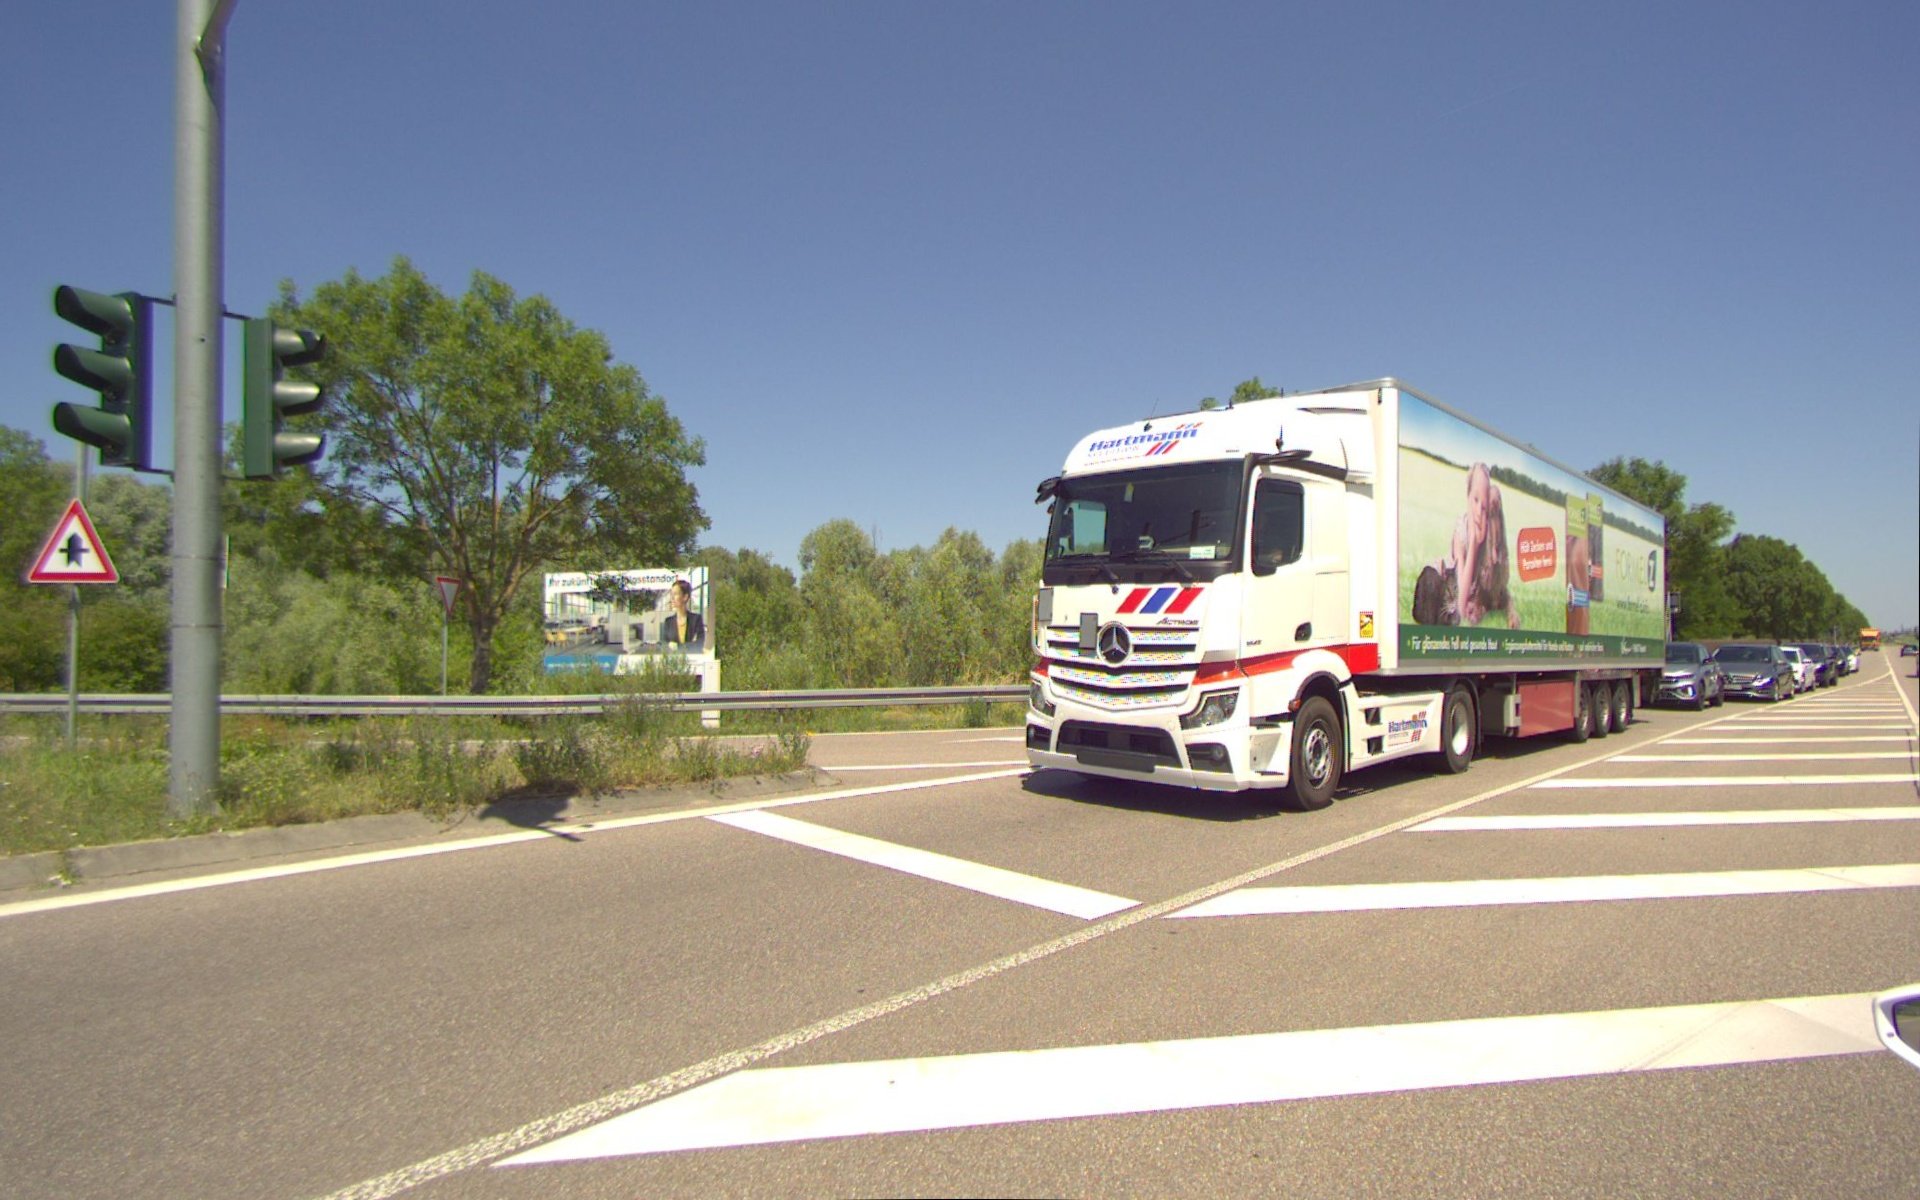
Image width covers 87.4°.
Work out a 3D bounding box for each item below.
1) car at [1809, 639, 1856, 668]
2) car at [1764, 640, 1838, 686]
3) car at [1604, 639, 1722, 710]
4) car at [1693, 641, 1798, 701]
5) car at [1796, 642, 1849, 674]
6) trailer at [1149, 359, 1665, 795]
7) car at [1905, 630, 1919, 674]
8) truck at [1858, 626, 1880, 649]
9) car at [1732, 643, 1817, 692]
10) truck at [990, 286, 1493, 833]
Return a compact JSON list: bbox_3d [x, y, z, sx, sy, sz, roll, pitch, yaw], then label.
[{"bbox_3d":[47.635,2.909,54.830,1.668,1.479,4.588,-1,-2,44],"label":"car"},{"bbox_3d":[32.043,2.348,38.223,4.504,1.610,1.700,2,-2,-44],"label":"car"},{"bbox_3d":[17.270,1.757,24.605,1.695,1.582,4.128,-2,-3,45],"label":"car"},{"bbox_3d":[22.002,1.931,28.081,4.353,1.558,1.609,2,-4,-43],"label":"car"},{"bbox_3d":[42.629,2.815,49.600,1.668,1.479,4.586,-1,-2,45],"label":"car"},{"bbox_3d":[7.945,0.027,15.448,2.661,4.098,14.040,-1,-2,44],"label":"trailer"},{"bbox_3d":[46.545,2.462,47.959,1.986,2.049,4.756,-1,-2,43],"label":"car"},{"bbox_3d":[162.585,6.705,179.555,2.762,3.890,9.272,-1,-3,43],"label":"truck"},{"bbox_3d":[27.210,2.195,33.492,4.598,1.498,1.637,2,-2,-44],"label":"car"},{"bbox_3d":[3.250,-0.200,10.534,2.661,4.098,5.791,-1,-2,44],"label":"truck"}]
